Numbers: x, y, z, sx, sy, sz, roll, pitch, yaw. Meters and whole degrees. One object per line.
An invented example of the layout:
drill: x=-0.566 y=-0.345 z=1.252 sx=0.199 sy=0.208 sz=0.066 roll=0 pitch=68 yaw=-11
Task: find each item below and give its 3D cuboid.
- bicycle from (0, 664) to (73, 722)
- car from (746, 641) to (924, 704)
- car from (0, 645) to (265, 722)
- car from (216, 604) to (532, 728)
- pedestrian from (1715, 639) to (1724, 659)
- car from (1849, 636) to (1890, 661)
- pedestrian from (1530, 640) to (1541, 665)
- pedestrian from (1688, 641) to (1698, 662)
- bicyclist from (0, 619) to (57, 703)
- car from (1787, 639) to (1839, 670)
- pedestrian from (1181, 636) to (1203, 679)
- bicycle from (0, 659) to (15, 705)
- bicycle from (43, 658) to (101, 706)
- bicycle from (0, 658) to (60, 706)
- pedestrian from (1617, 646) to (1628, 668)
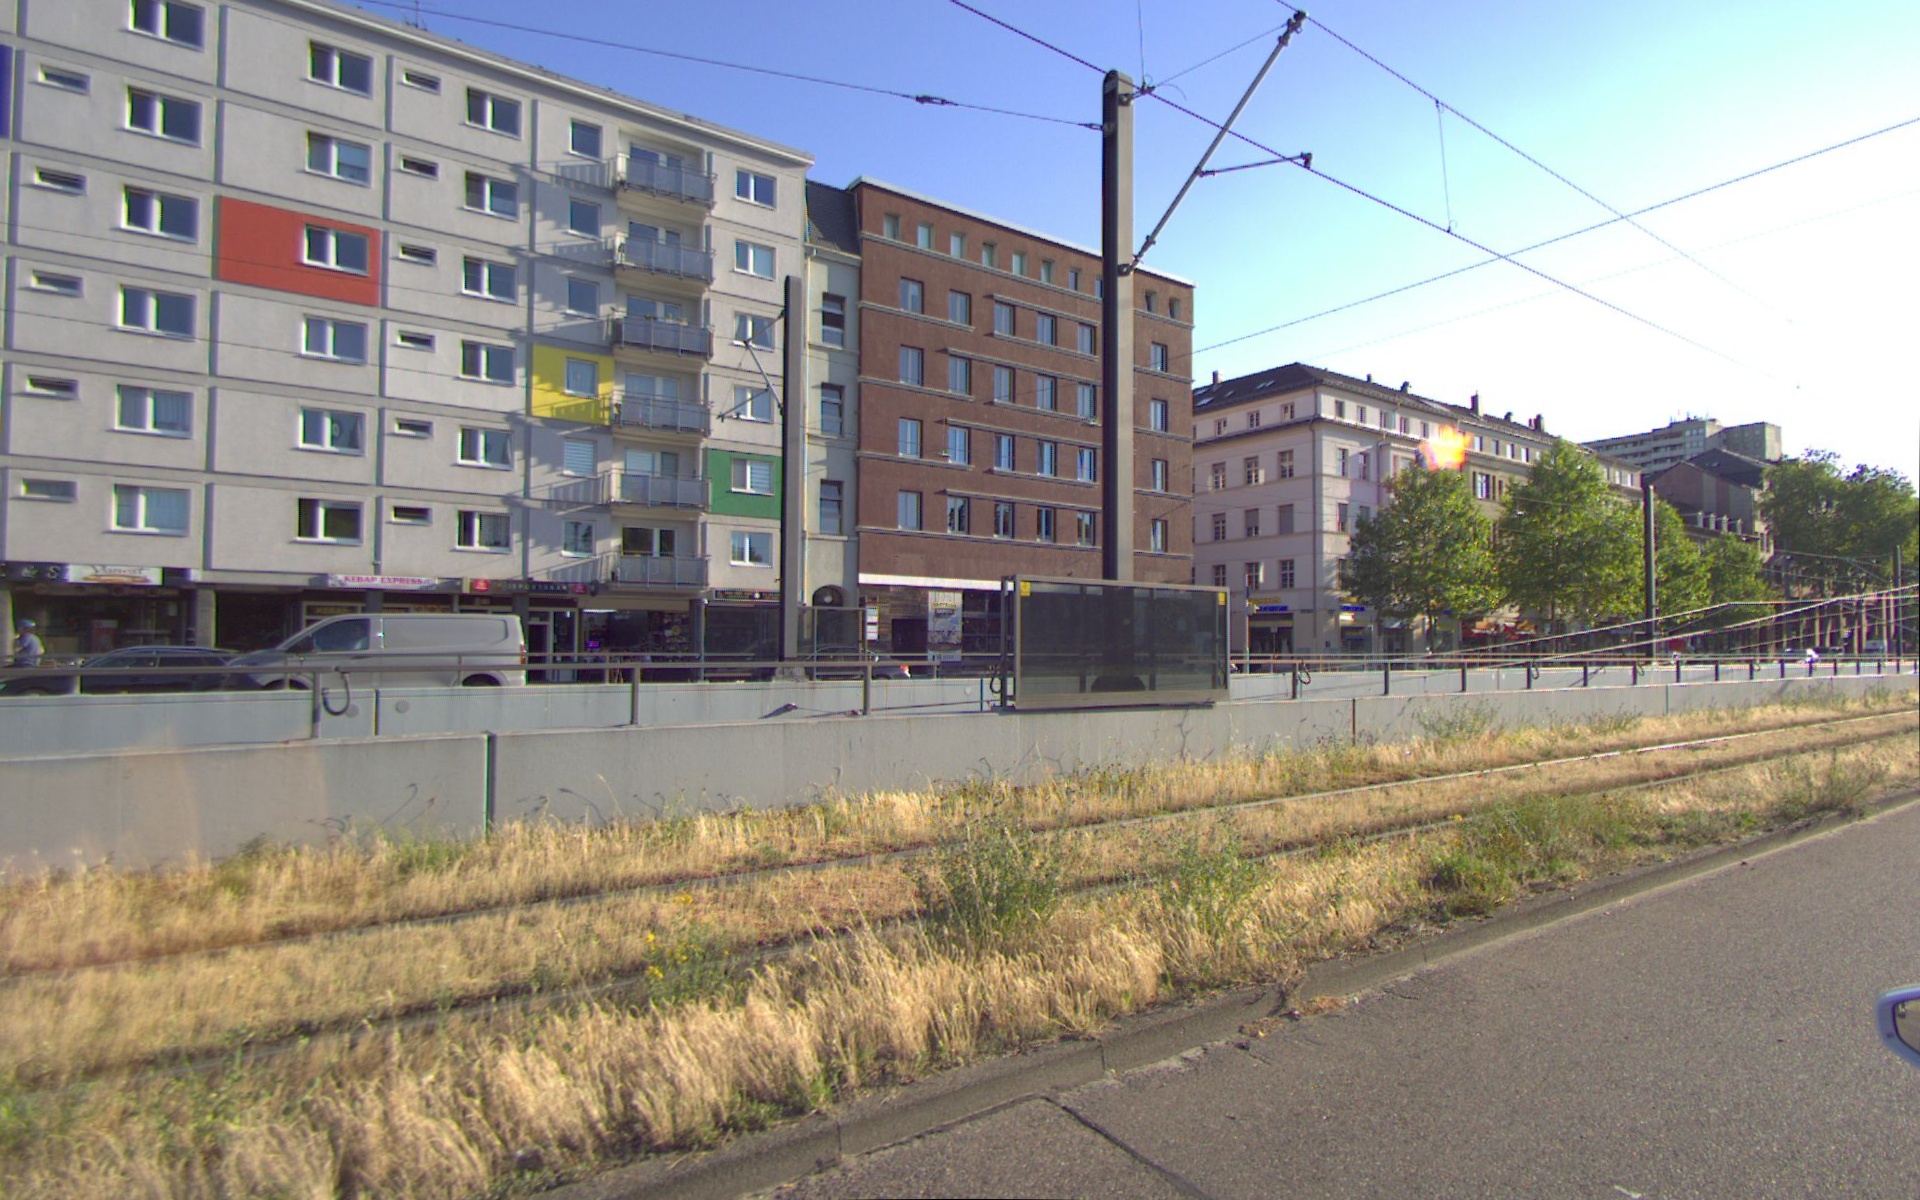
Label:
bicycle: x=-18.695 y=1.815 z=19.713 sx=1.764 sy=1.111 sz=0.943 roll=3 pitch=-4 yaw=-34
car: x=-2.975 y=1.742 z=24.186 sx=3.876 sy=1.391 sz=1.784 roll=2 pitch=-6 yaw=-36
car: x=-15.817 y=1.541 z=19.164 sx=4.161 sy=1.330 sz=1.783 roll=2 pitch=-3 yaw=-36
car: x=-10.861 y=1.202 z=18.859 sx=4.892 sy=2.040 sz=1.980 roll=2 pitch=-3 yaw=-36
pedestrian: x=69.020 y=4.447 z=91.266 sx=0.544 sy=1.731 sz=0.487 roll=2 pitch=-2 yaw=-35
car: x=82.844 y=4.395 z=91.509 sx=3.961 sy=2.274 sz=1.980 roll=2 pitch=-3 yaw=-36
pedestrian: x=40.746 y=3.697 z=71.077 sx=0.544 sy=1.731 sz=0.487 roll=2 pitch=-2 yaw=-35
pedestrian: x=61.855 y=4.352 z=84.750 sx=0.544 sy=1.731 sz=0.487 roll=2 pitch=-2 yaw=-35
bicyclist: x=-18.508 y=1.204 z=19.876 sx=0.731 sy=1.618 sz=0.954 roll=3 pitch=-4 yaw=-33
car: x=56.821 y=3.623 z=66.885 sx=3.968 sy=2.040 sz=1.977 roll=2 pitch=-3 yaw=-40
pedestrian: x=11.072 y=2.724 z=47.964 sx=0.722 sy=2.040 sz=0.712 roll=2 pitch=-2 yaw=-37
bicycle: x=-22.856 y=1.925 z=23.476 sx=0.729 sy=1.065 sz=2.278 roll=2 pitch=-3 yaw=-34
bicycle: x=-21.584 y=1.960 z=24.445 sx=0.729 sy=1.065 sz=2.278 roll=2 pitch=-3 yaw=-34
bicycle: x=-22.212 y=1.928 z=23.968 sx=0.729 sy=1.065 sz=2.278 roll=2 pitch=-3 yaw=-34
pedestrian: x=51.649 y=4.447 z=78.324 sx=0.544 sy=1.731 sz=0.487 roll=2 pitch=-2 yaw=-35
